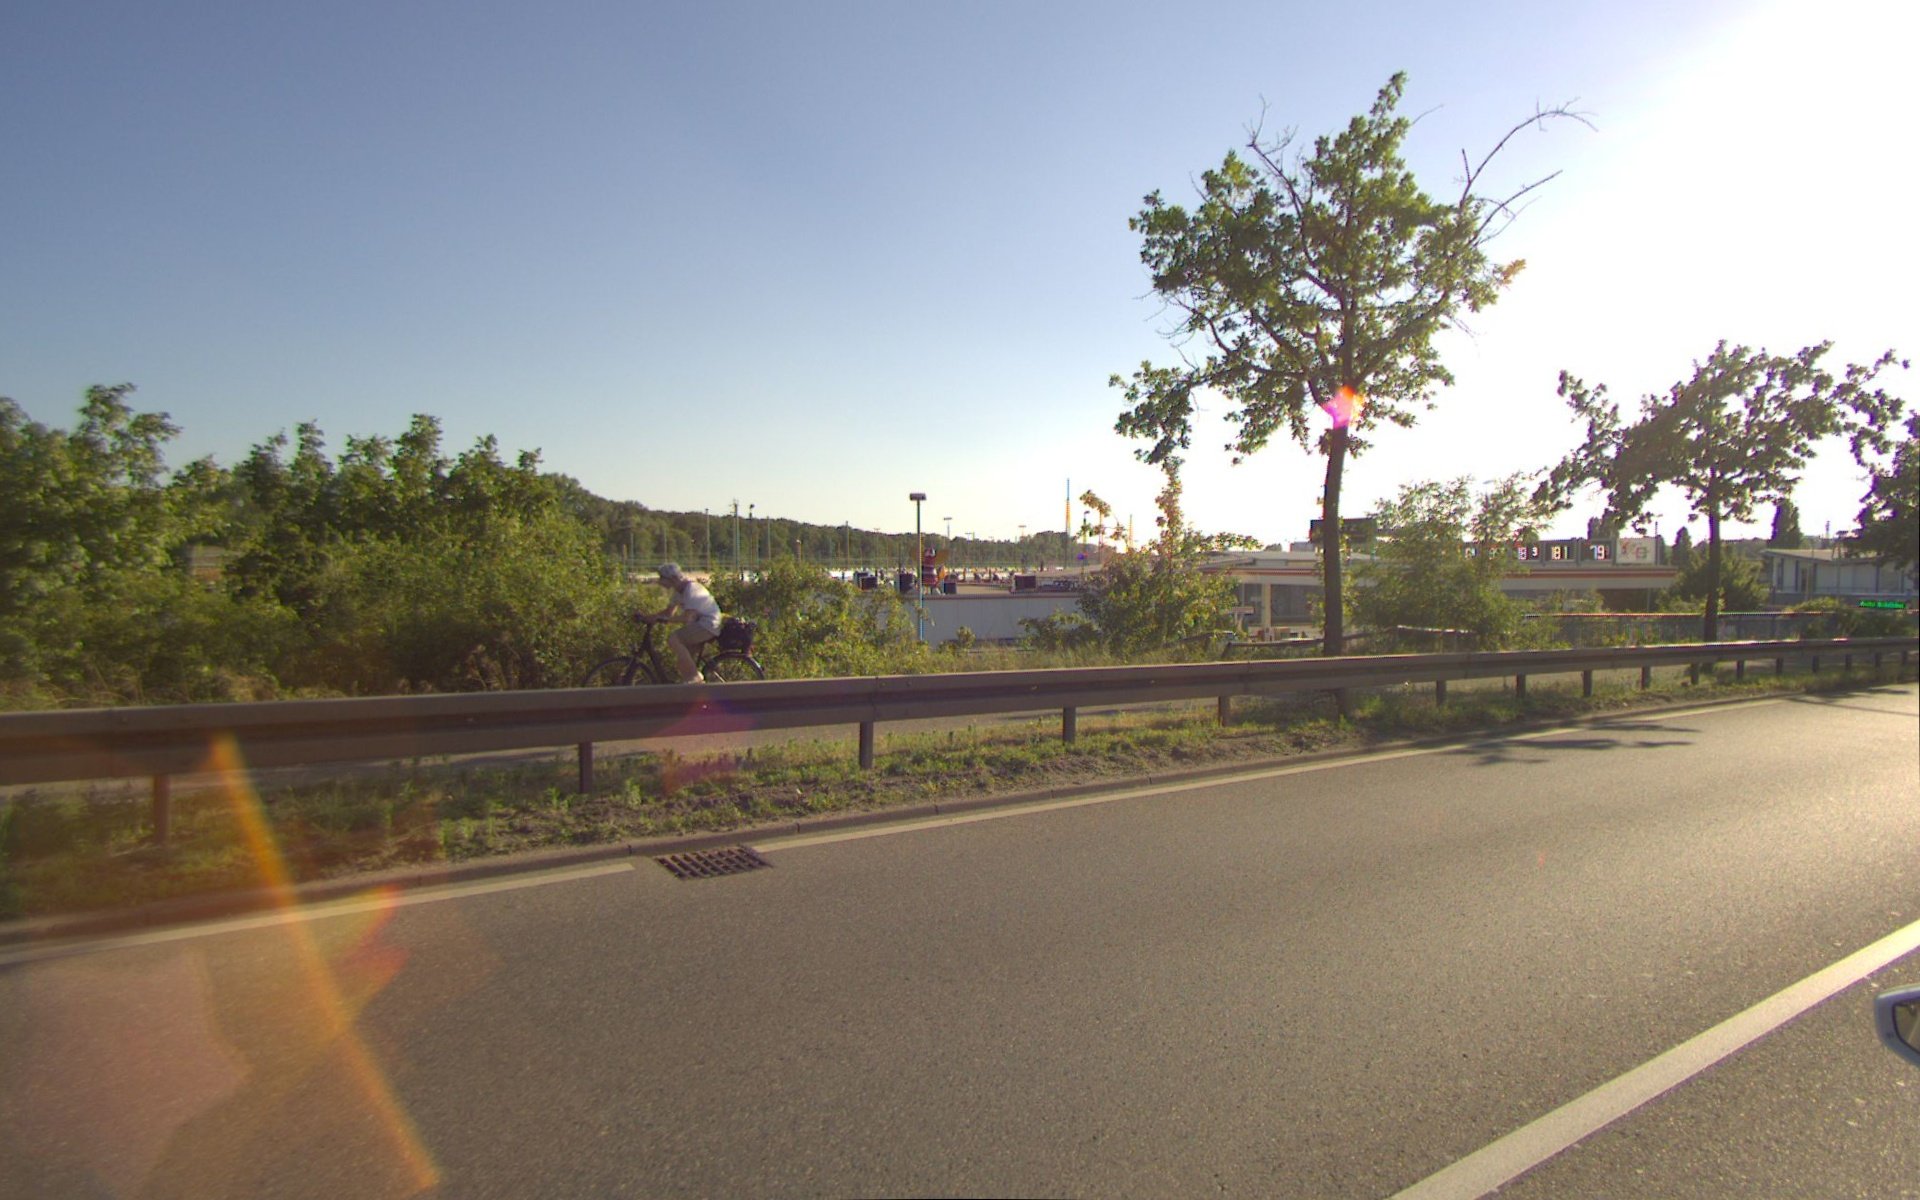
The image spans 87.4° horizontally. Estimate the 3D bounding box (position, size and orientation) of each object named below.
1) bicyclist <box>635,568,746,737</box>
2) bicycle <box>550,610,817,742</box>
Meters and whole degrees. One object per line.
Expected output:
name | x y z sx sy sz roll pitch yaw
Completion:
bicyclist | -2.489 0.469 9.260 0.819 1.478 0.596 1 0 -33
bicycle | -2.493 0.666 9.240 2.288 1.091 0.579 2 0 -33
